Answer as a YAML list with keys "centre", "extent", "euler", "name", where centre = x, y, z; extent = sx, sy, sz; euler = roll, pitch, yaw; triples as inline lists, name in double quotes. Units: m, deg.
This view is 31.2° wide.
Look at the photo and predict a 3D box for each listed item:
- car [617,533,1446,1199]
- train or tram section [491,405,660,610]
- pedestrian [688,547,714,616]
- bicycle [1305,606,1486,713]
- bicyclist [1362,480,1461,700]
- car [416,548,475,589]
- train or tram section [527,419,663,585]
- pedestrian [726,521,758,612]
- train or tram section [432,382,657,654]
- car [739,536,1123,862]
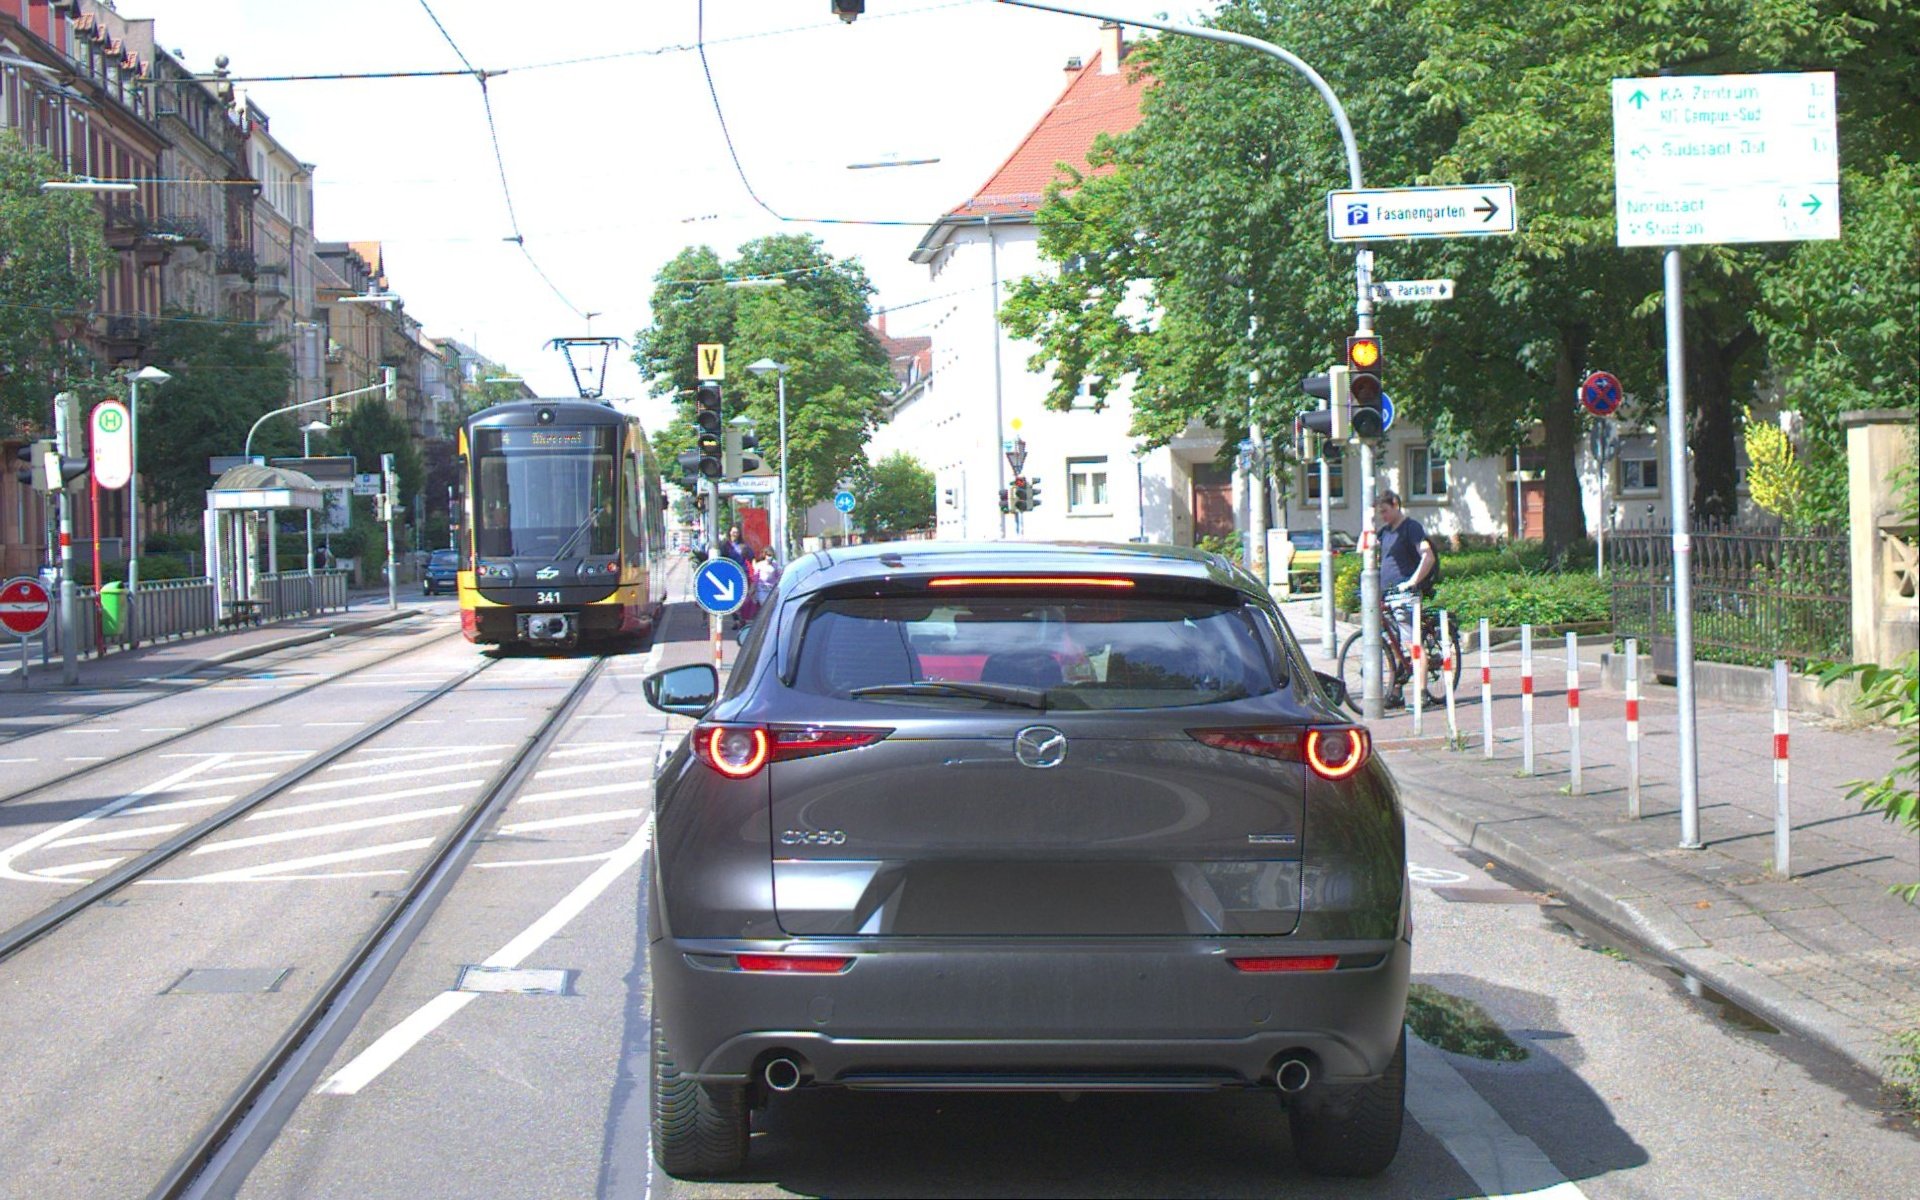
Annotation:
- centre: [0.116, 0.579, 9.443]
  extent: [1.778, 1.494, 4.000]
  euler: [1, 1, -1]
  name: "car"
- centre: [-7.242, -1.847, 66.390]
  extent: [2.752, 3.478, 14.411]
  euler: [-1, 2, -5]
  name: "train or tram section"
- centre: [-4.091, -0.293, 54.321]
  extent: [0.379, 1.067, 0.474]
  euler: [-1, 1, -5]
  name: "pedestrian"
- centre: [3.651, 0.486, 28.711]
  extent: [1.694, 0.821, 0.494]
  euler: [-2, 1, -42]
  name: "bicycle"
- centre: [3.733, -0.085, 28.444]
  extent: [0.608, 1.786, 0.658]
  euler: [-1, 1, -10]
  name: "bicyclist"
- centre: [-16.945, -1.047, 113.370]
  extent: [1.614, 1.305, 3.628]
  euler: [-1, 1, -4]
  name: "car"
- centre: [-8.424, -2.350, 80.764]
  extent: [2.752, 3.478, 14.411]
  euler: [-1, 2, -5]
  name: "train or tram section"
- centre: [-3.456, -0.533, 54.534]
  extent: [0.450, 1.429, 0.474]
  euler: [-1, 1, -5]
  name: "pedestrian"
- centre: [-6.050, -1.327, 52.037]
  extent: [2.752, 3.478, 14.411]
  euler: [-1, 2, -5]
  name: "train or tram section"
- centre: [-0.174, 0.425, 18.048]
  extent: [1.778, 1.494, 4.000]
  euler: [1, 1, -1]
  name: "car"
